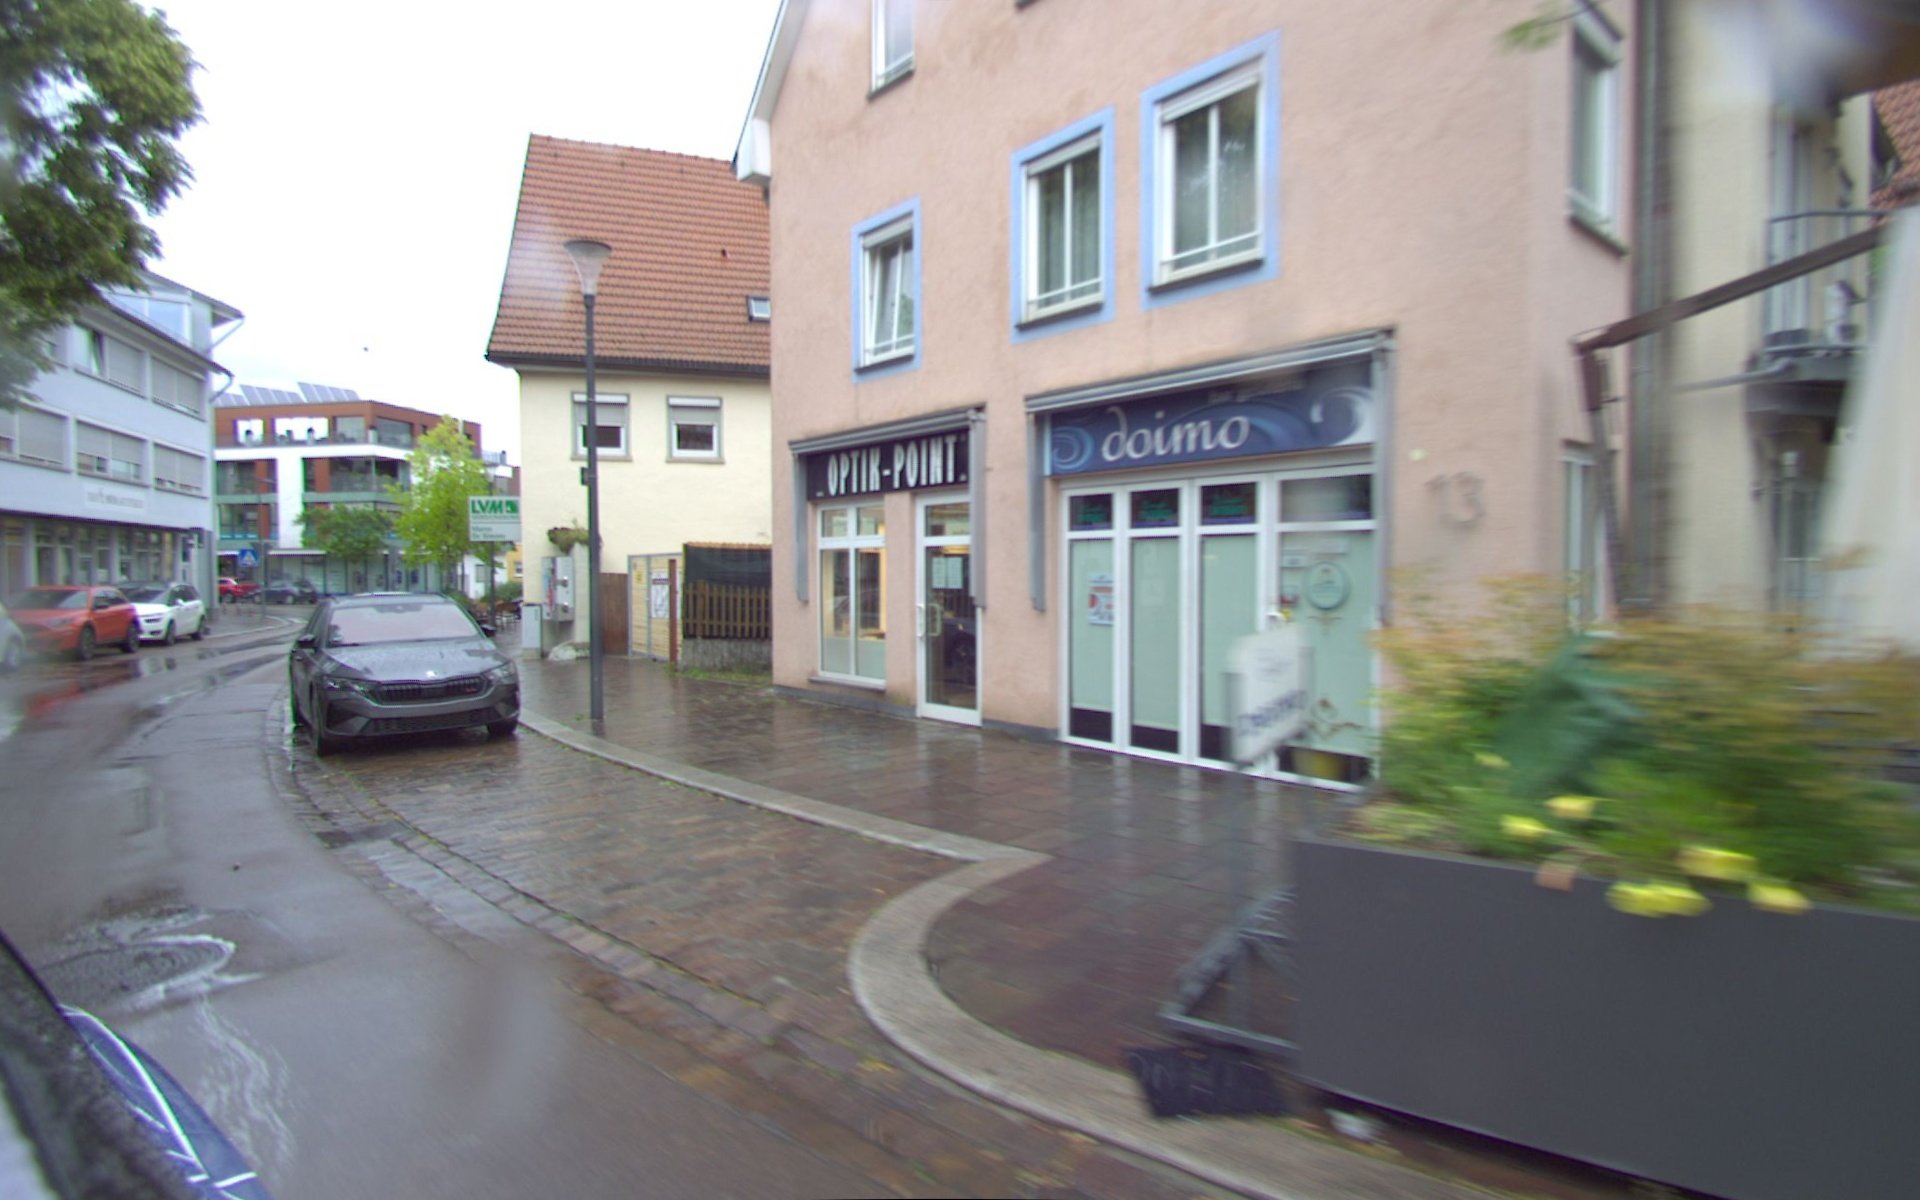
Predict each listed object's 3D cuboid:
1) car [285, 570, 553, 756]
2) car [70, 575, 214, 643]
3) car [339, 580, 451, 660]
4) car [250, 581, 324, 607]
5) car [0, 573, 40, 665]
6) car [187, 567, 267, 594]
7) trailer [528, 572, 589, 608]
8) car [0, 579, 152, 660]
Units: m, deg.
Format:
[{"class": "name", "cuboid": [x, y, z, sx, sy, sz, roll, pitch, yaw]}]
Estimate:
[{"class": "car", "cuboid": [-5.956, 0.507, 10.848, 1.851, 1.552, 4.410, -2, 1, -37]}, {"class": "car", "cuboid": [-21.247, 0.170, 26.504, 1.762, 1.611, 4.455, -1, 1, -23]}, {"class": "car", "cuboid": [-11.800, 0.382, 21.009, 1.824, 1.463, 4.084, -1, 0, -32]}, {"class": "car", "cuboid": [-40.268, -0.390, 60.589, 3.548, 1.446, 1.674, 1, 2, 12]}, {"class": "car", "cuboid": [-16.948, 0.321, 16.421, 1.762, 1.567, 3.963, 0, 1, -23]}, {"class": "car", "cuboid": [-44.818, -1.189, 61.898, 3.880, 1.566, 1.797, 1, 2, 12]}, {"class": "trailer", "cuboid": [-25.244, -0.622, 63.695, 3.053, 2.103, 1.834, -3, 0, 3]}, {"class": "car", "cuboid": [-19.082, 0.342, 21.581, 1.762, 1.479, 3.963, -1, 3, -21]}]
